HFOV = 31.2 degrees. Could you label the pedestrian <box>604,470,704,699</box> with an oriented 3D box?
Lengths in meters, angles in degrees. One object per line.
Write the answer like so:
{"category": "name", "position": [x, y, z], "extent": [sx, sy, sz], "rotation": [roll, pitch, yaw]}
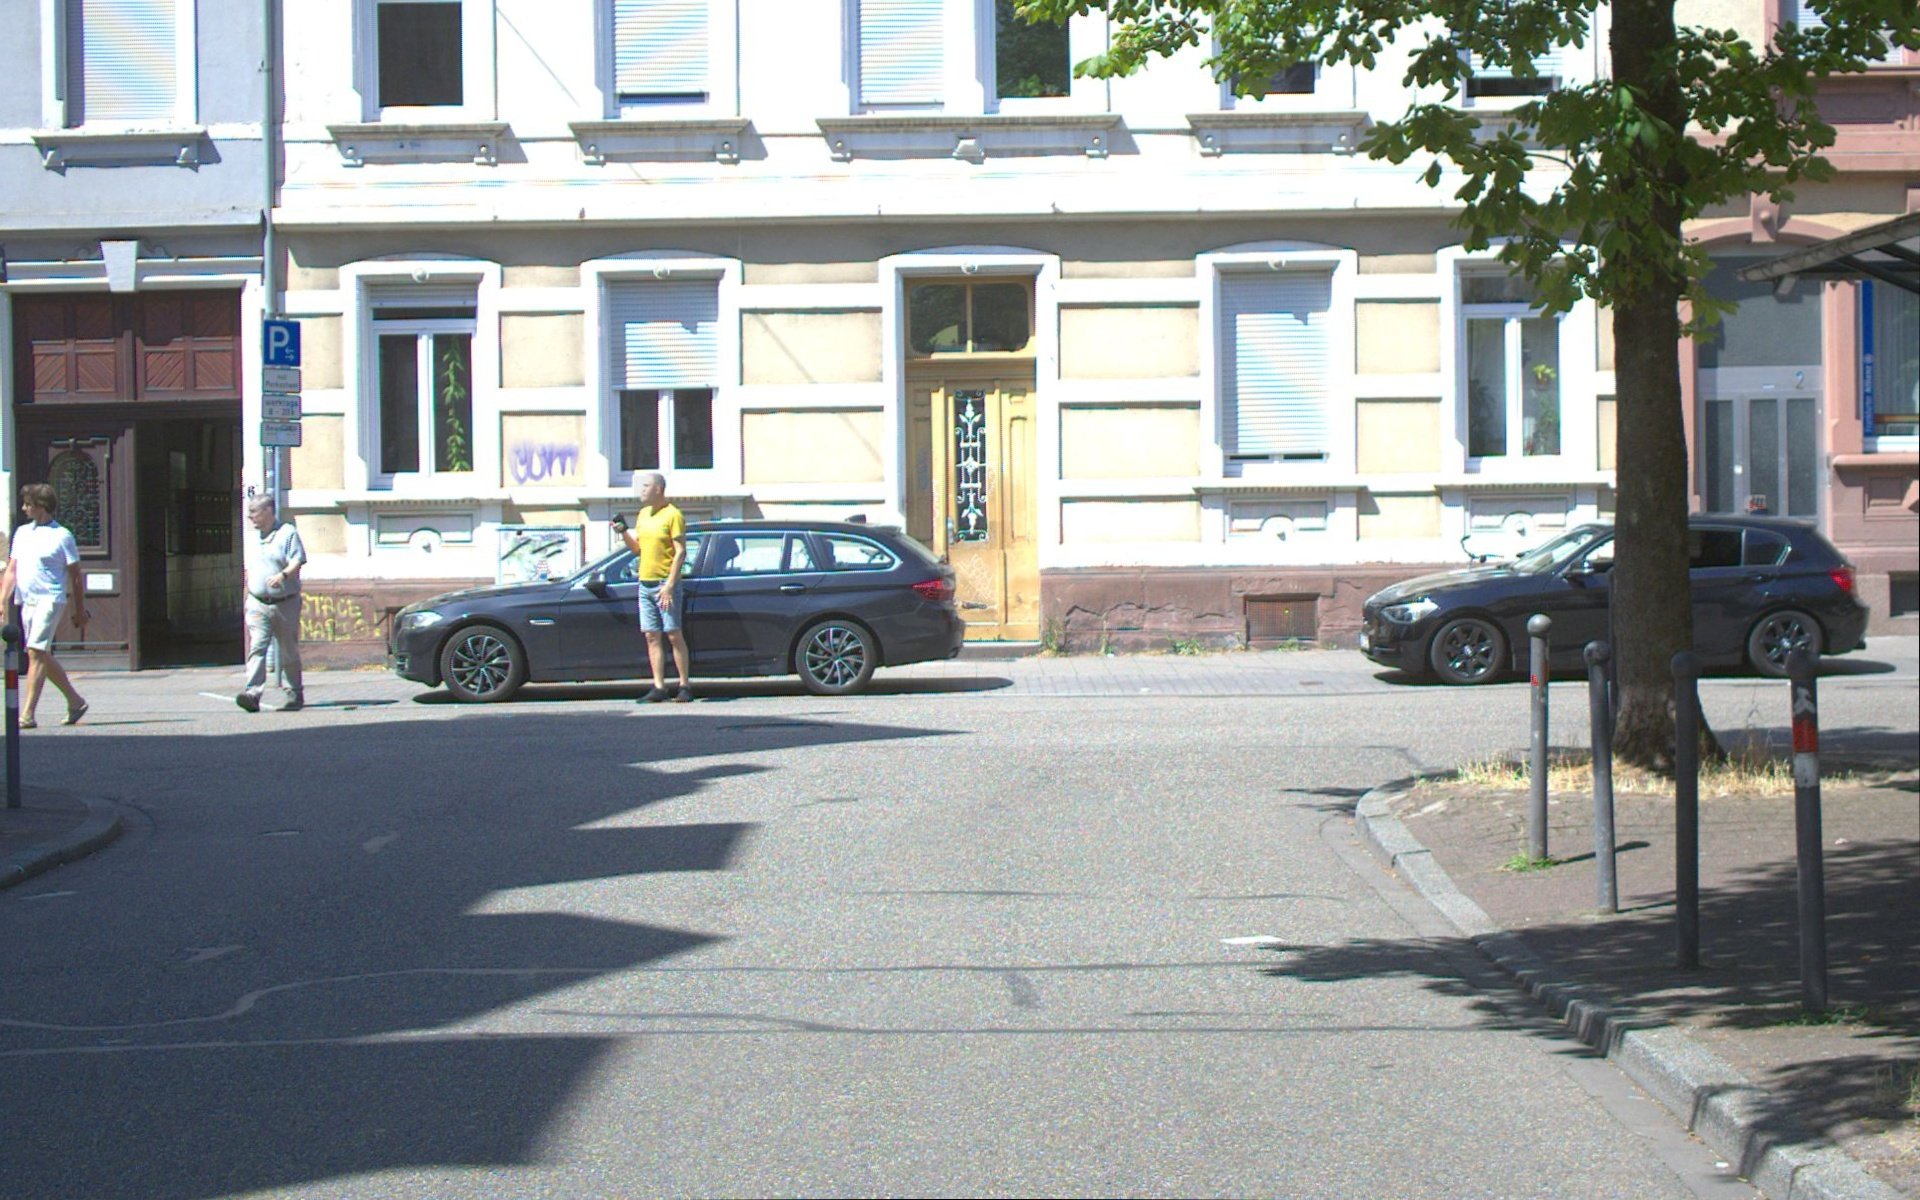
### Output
{"category": "pedestrian", "position": [-2.525, -0.134, 28.347], "extent": [0.724, 1.847, 0.685], "rotation": [-2, 1, -9]}

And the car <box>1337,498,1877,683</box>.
{"category": "car", "position": [5.501, -0.104, 29.613], "extent": [4.294, 1.365, 1.807], "rotation": [-2, 4, 0]}

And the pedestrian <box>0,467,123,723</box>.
{"category": "pedestrian", "position": [-6.953, -0.043, 25.992], "extent": [0.850, 1.882, 0.935], "rotation": [-1, 1, 11]}

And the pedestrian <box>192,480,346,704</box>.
{"category": "pedestrian", "position": [-5.730, -0.076, 28.564], "extent": [0.901, 1.808, 0.960], "rotation": [-1, 1, 12]}

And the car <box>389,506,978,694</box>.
{"category": "car", "position": [-2.297, -0.019, 29.559], "extent": [4.859, 1.432, 2.000], "rotation": [-2, 1, 0]}
